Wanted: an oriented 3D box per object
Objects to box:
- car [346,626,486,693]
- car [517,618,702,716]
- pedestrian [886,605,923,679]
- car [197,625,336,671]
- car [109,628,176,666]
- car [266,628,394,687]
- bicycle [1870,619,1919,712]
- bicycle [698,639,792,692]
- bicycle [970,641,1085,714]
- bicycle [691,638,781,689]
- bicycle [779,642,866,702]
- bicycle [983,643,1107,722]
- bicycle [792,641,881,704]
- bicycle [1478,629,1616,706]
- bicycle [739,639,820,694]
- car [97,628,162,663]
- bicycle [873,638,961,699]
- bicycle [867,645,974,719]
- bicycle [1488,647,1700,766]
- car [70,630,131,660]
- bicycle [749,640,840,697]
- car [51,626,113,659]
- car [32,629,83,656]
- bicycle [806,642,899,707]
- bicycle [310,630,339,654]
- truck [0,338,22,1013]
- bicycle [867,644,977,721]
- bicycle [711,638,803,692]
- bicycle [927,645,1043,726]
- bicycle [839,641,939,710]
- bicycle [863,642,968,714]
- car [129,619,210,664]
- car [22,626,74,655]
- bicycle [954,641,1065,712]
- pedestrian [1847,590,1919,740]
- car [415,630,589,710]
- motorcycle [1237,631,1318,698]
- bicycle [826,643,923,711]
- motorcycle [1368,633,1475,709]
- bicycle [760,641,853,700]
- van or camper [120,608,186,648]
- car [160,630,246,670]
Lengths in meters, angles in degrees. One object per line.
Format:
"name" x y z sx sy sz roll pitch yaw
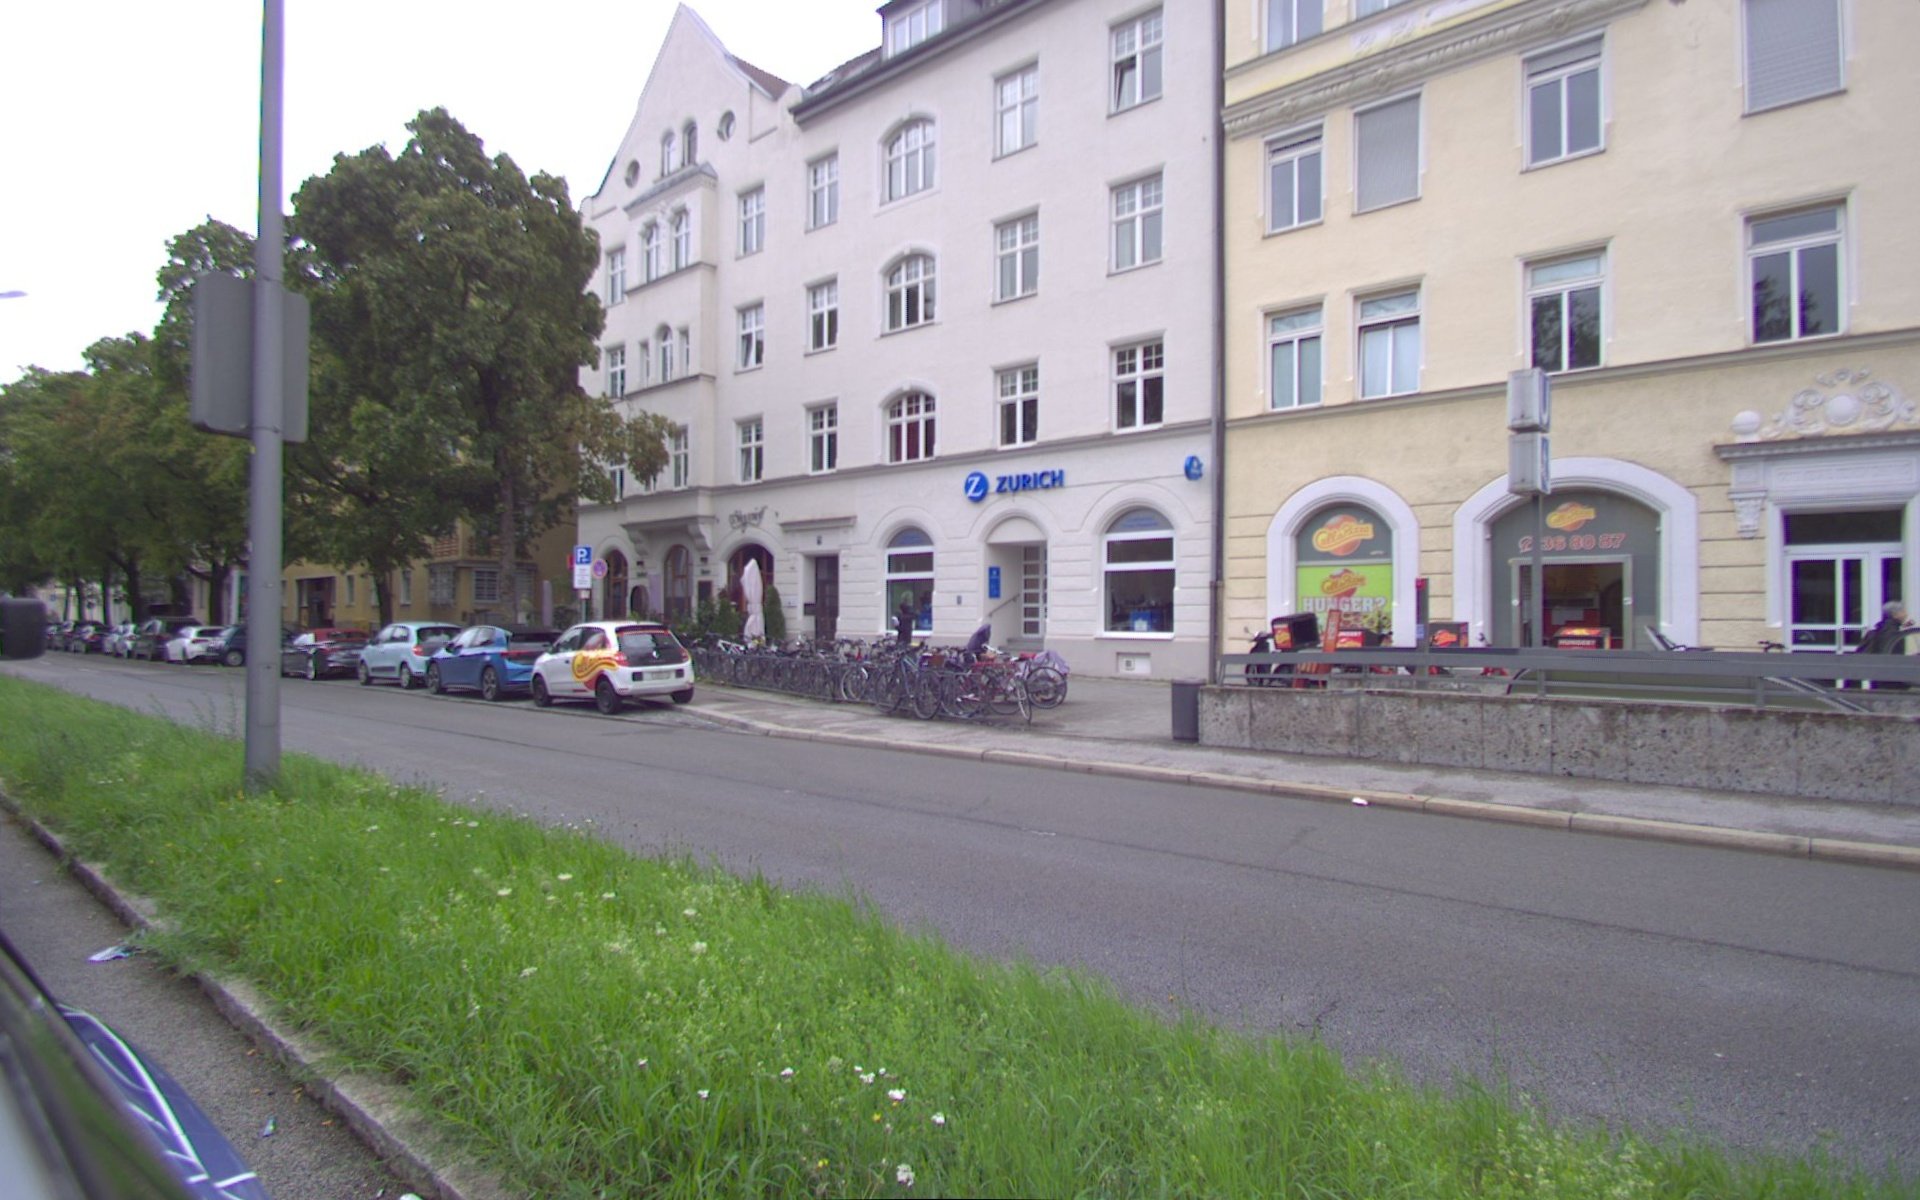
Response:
"car" -13.477 1.403 24.994 3.958 1.518 1.792 -1 -2 41
"car" -6.489 1.148 18.581 3.790 1.597 1.631 -1 -2 43
"pedestrian" -1.255 0.946 22.847 0.416 1.644 0.784 1 -2 -43
"car" -25.147 1.712 36.810 1.730 1.475 3.851 -1 -1 39
"car" -36.176 2.054 44.791 3.007 1.569 1.710 -1 -2 39
"car" -17.841 1.559 28.560 4.643 1.518 1.792 -1 -2 41
"bicycle" 10.650 0.687 10.667 1.544 0.988 0.468 -1 -2 41
"bicycle" -4.685 1.425 22.092 1.966 1.124 0.503 -1 -1 10
"bicycle" 1.071 1.213 16.154 1.799 1.124 0.394 -1 -2 18
"bicycle" -5.026 1.413 22.675 1.944 1.124 0.457 -1 -1 10
"bicycle" -2.630 1.357 19.260 1.667 1.124 0.328 -1 -2 18
"bicycle" 1.269 1.217 15.140 1.799 1.124 0.394 -1 -2 18
"bicycle" -2.287 1.323 18.711 1.667 1.124 0.328 -1 -2 18
"bicycle" 7.876 0.882 13.617 1.544 0.988 0.468 -1 -2 41
"bicycle" -3.738 1.366 20.951 1.664 1.124 0.329 -1 -1 14
"car" -39.023 2.112 47.535 4.055 1.573 1.709 -1 -2 41
"bicycle" -0.815 1.290 19.172 1.667 1.124 0.328 -1 -2 18
"bicycle" -0.630 1.280 15.936 1.667 1.124 0.328 -1 -2 18
"bicycle" 6.509 1.062 10.470 1.808 1.124 0.392 -1 -2 33
"car" -42.985 2.233 50.573 4.361 1.416 1.709 -1 -2 41
"bicycle" -3.335 1.363 20.339 1.859 1.124 0.328 -1 -2 18
"car" -47.321 2.249 54.518 4.768 1.658 1.859 -1 -2 41
"car" -51.961 2.444 58.251 4.490 1.465 1.674 -1 -2 41
"bicycle" -1.927 1.317 18.104 1.667 1.124 0.328 -1 -2 18
"bicycle" -33.215 2.205 52.882 1.929 1.231 0.762 -1 -2 41
"truck" -6.113 0.306 4.752 5.148 2.508 1.973 -1 -2 41
"bicycle" -0.587 1.246 15.510 1.667 1.124 0.366 -1 -2 18
"bicycle" -4.316 1.368 21.515 1.860 1.124 0.548 -1 -1 10
"bicycle" 0.354 1.228 14.692 1.667 1.124 0.328 -1 -2 18
"bicycle" -1.201 1.258 16.995 1.667 1.124 0.328 -1 -2 18
"bicycle" -0.727 1.248 16.390 1.667 1.124 0.365 -1 -2 18
"car" -32.833 1.690 41.996 4.765 1.741 1.791 -1 -2 41
"car" -55.735 2.442 61.818 4.436 1.699 1.854 -1 -2 41
"bicycle" 0.813 1.247 16.708 1.799 1.124 0.394 -1 -2 18
"pedestrian" 10.937 0.744 11.860 0.770 1.710 0.537 -1 -2 40
"car" -9.857 1.408 21.639 4.289 1.518 1.792 -1 -2 41
"motorcycle" 5.861 1.160 18.787 0.600 1.139 1.991 0 -1 -9
"bicycle" -1.485 1.313 17.488 1.667 1.124 0.380 -1 -2 18
"motorcycle" 7.619 1.138 16.815 0.600 1.130 1.991 0 -1 -9
"bicycle" -3.014 1.362 19.821 1.859 1.124 0.328 -1 -2 18
"van or camper" -54.949 1.909 68.831 6.847 2.599 2.321 -1 -2 41
"car" -28.591 1.837 38.178 4.401 1.413 1.708 -1 -2 41
